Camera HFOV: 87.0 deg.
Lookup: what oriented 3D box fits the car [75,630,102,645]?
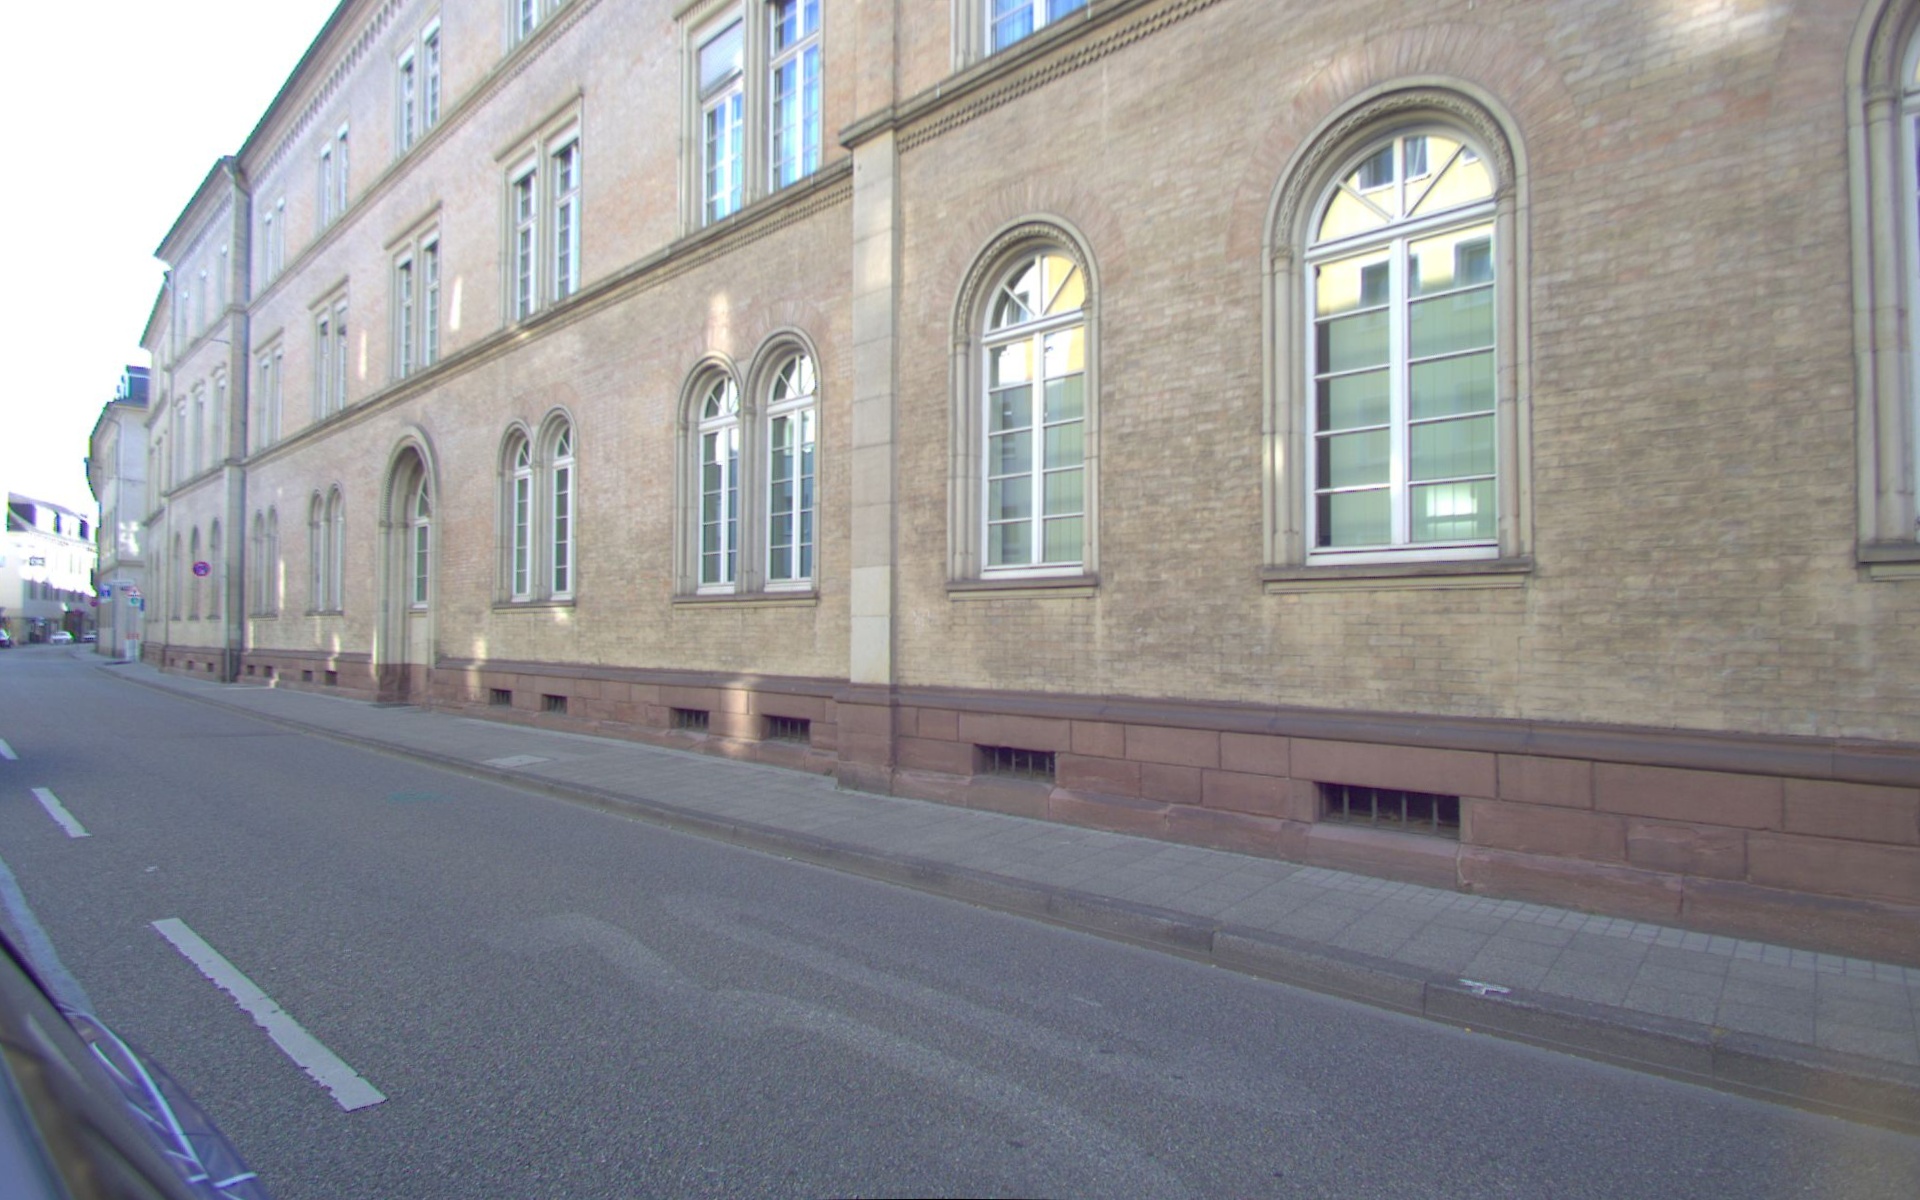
[{"bbox_3d":[-109.237,4.713,126.843,1.966,1.665,4.240,-1,0,-33],"label":"car"}]

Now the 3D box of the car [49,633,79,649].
[{"bbox_3d":[-102.864,4.638,116.190,1.966,1.665,4.240,-1,0,-33],"label":"car"}]

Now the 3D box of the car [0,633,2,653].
[{"bbox_3d":[-86.623,3.857,89.964,1.969,1.665,4.235,-1,0,-41],"label":"car"}]
